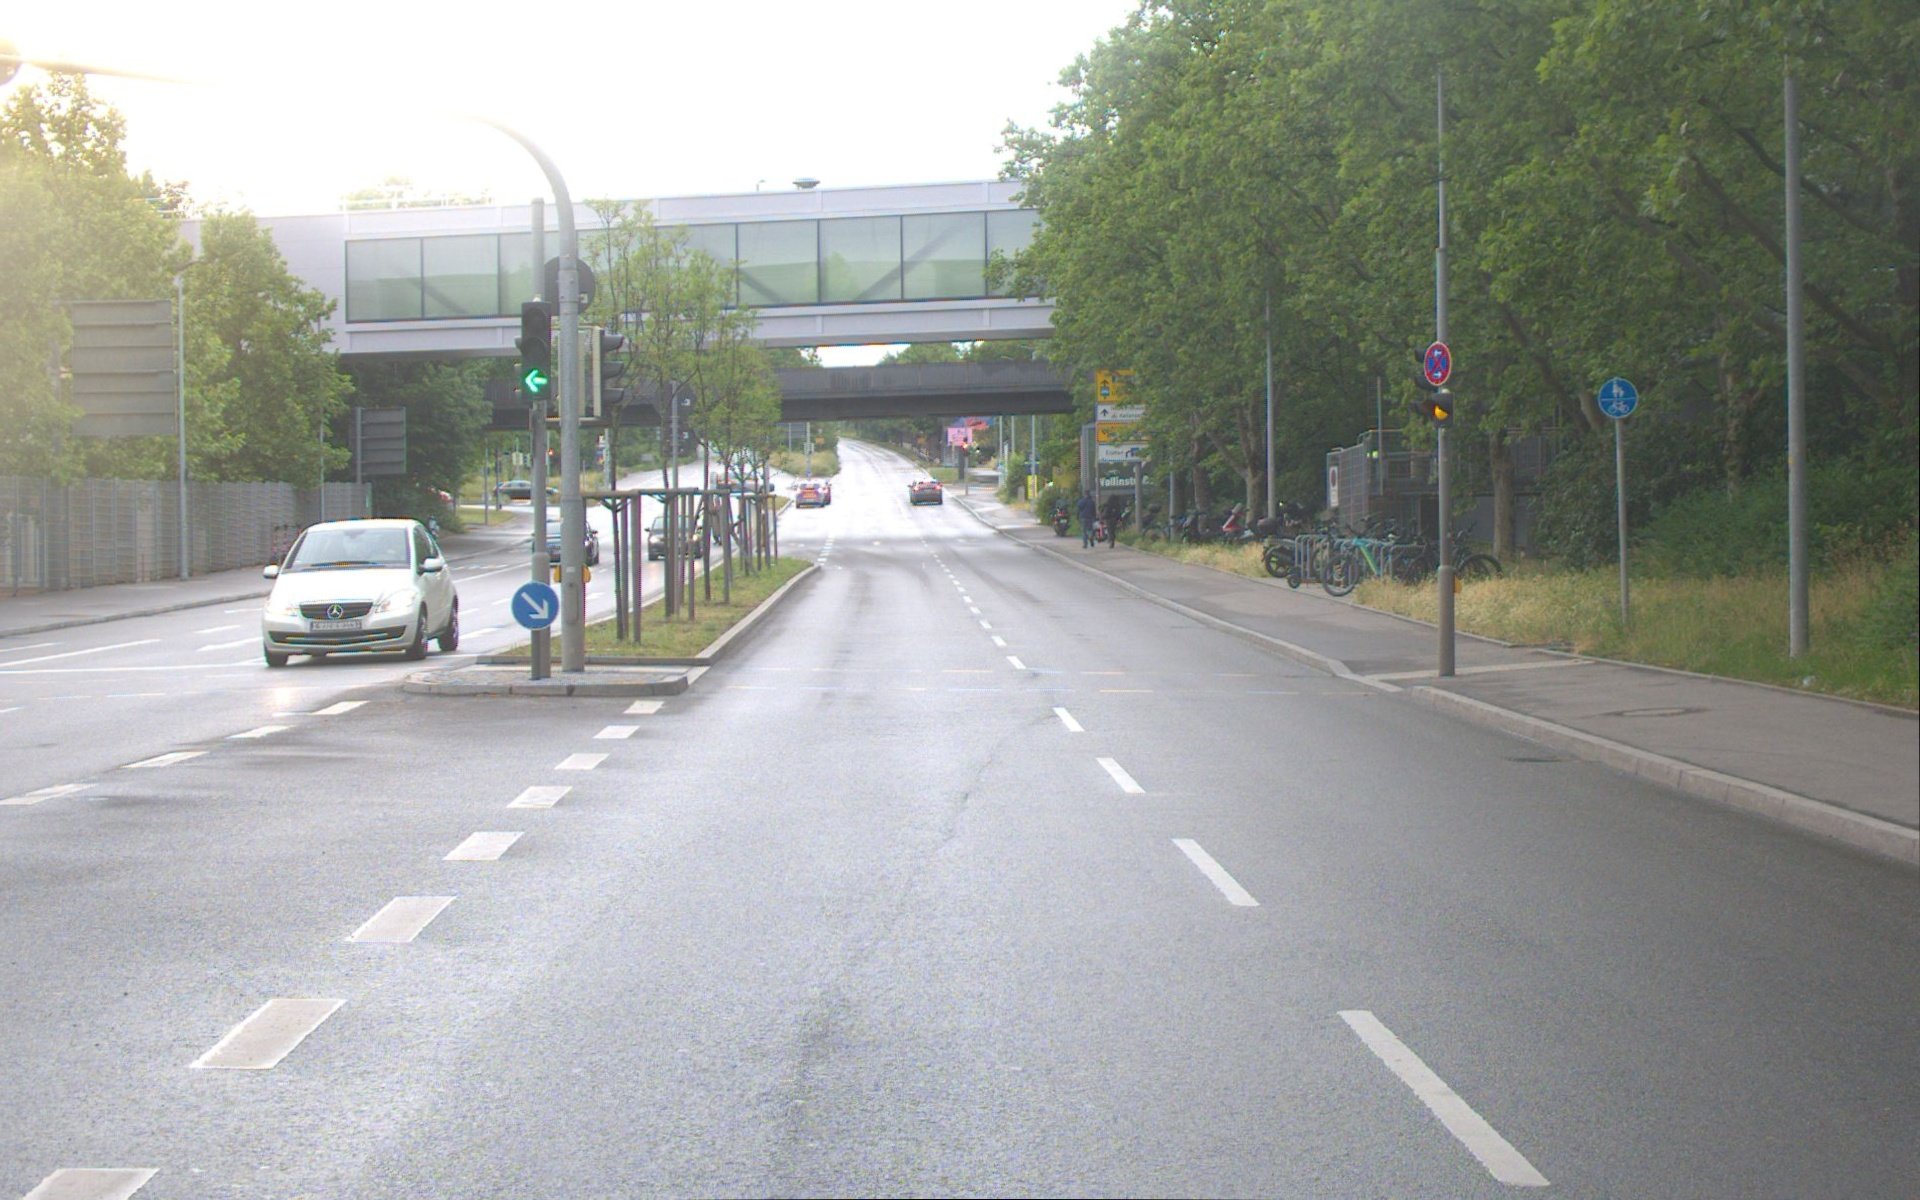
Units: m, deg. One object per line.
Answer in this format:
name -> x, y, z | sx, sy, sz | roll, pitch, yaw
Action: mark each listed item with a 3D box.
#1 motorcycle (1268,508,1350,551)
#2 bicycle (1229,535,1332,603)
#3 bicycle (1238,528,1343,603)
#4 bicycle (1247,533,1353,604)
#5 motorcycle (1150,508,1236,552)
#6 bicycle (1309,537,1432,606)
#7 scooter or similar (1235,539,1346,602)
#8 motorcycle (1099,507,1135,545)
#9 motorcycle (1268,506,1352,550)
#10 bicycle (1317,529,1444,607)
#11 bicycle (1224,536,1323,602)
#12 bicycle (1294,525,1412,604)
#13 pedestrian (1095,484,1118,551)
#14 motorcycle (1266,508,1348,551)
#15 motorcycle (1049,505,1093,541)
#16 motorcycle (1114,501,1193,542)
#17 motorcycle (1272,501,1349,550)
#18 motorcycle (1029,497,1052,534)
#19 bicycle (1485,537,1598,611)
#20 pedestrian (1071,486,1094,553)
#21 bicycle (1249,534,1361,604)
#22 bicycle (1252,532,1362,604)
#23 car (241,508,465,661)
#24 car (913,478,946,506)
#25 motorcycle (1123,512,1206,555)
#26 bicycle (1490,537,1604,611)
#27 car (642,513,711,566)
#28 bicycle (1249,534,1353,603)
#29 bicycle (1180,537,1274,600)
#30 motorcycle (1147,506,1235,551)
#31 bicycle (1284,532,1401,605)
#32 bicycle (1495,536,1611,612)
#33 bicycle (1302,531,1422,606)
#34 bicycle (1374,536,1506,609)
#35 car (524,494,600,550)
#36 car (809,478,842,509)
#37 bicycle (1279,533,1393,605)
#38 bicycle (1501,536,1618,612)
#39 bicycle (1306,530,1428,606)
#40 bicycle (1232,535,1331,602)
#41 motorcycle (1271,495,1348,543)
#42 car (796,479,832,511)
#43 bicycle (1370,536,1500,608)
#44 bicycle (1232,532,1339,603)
motorcycle -> 10.339, -2.080, 101.837 | 2.369, 1.198, 0.722 | -1, 1, 7
bicycle -> 6.505, -0.631, 69.772 | 1.990, 1.324, 0.576 | 2, 0, 0
bicycle -> 6.550, -0.687, 68.206 | 1.990, 1.425, 0.723 | 2, 0, 0
bicycle -> 6.667, -0.618, 67.473 | 1.990, 1.324, 0.576 | 2, 0, 0
motorcycle -> 6.620, -1.984, 97.575 | 2.369, 1.198, 0.722 | -1, 1, 7
bicycle -> 6.937, -0.480, 58.141 | 1.990, 1.091, 0.541 | 2, 0, 0
scooter or similar -> 6.202, -0.554, 64.578 | 1.990, 1.134, 0.541 | 2, 0, 0
motorcycle -> 5.515, -2.617, 121.074 | 0.790, 1.307, 2.377 | -2, 1, -9
motorcycle -> 10.144, -2.082, 99.593 | 2.369, 1.198, 0.722 | -1, 1, 7
bicycle -> 6.907, -0.528, 56.533 | 1.990, 1.212, 0.541 | 2, 0, 0
bicycle -> 6.538, -0.649, 71.700 | 1.963, 1.324, 0.654 | 2, 0, 0
bicycle -> 6.941, -0.621, 60.800 | 1.990, 1.336, 0.541 | 2, 0, 0
pedestrian -> 4.417, -2.481, 103.921 | 0.622, 2.007, 0.605 | -1, 1, 0
motorcycle -> 10.181, -2.068, 100.813 | 2.369, 1.198, 0.722 | -1, 1, 7
motorcycle -> 4.058, -2.820, 126.119 | 0.790, 1.307, 2.377 | -2, 1, -18
motorcycle -> 5.980, -2.421, 106.311 | 2.369, 1.198, 0.722 | -1, 1, 7
motorcycle -> 10.975, -2.344, 107.675 | 2.369, 1.471, 0.722 | -1, 1, 7
motorcycle -> 3.415, -3.572, 145.278 | 0.790, 1.528, 2.377 | -1, 1, -2
bicycle -> 10.915, -0.482, 64.556 | 1.990, 1.324, 0.576 | 2, 0, 0
pedestrian -> 3.717, -2.455, 104.349 | 0.622, 2.007, 0.605 | -1, 1, 0
bicycle -> 6.409, -0.582, 63.815 | 1.990, 1.237, 0.541 | 2, 0, 0
bicycle -> 6.628, -0.613, 65.721 | 1.990, 1.324, 0.576 | 2, 0, 0
car -> -6.868, -0.209, 39.250 | 1.877, 1.619, 3.779 | -1, 1, 0
car -> -1.796, -6.407, 203.581 | 1.875, 1.492, 4.068 | 2, 0, 0
motorcycle -> 6.080, -1.976, 102.180 | 2.369, 1.198, 0.722 | -1, 1, 7
bicycle -> 10.912, -0.480, 63.932 | 1.990, 1.324, 0.576 | 2, 0, 0
car -> -8.980, -1.934, 109.241 | 1.877, 1.619, 3.779 | -1, 1, 0
bicycle -> 6.841, -0.631, 69.061 | 1.990, 1.324, 0.576 | 2, 0, 0
bicycle -> 5.824, -0.682, 75.024 | 1.963, 1.324, 0.654 | 2, 0, 0
motorcycle -> 6.410, -1.989, 95.487 | 2.369, 1.198, 0.722 | -1, 1, 7
bicycle -> 6.837, -0.561, 61.492 | 1.990, 1.237, 0.541 | 2, 0, 0
bicycle -> 10.905, -0.478, 63.254 | 1.990, 1.324, 0.576 | 2, 0, 0
bicycle -> 6.957, -0.550, 59.533 | 1.990, 1.237, 0.541 | 2, 0, 0
bicycle -> 7.610, -0.440, 54.506 | 1.990, 1.091, 0.541 | 2, 0, 0
car -> -12.078, -2.373, 104.434 | 1.877, 1.619, 3.779 | -1, 1, 0
car -> -8.359, -6.601, 213.785 | 1.884, 1.756, 3.969 | 2, 0, 0
bicycle -> 6.822, -0.565, 62.441 | 1.990, 1.237, 0.541 | 2, 0, 0
bicycle -> 10.912, -0.476, 62.589 | 1.990, 1.324, 0.576 | 2, 0, 0
bicycle -> 6.949, -0.549, 58.722 | 1.990, 1.229, 0.541 | 2, 0, 0
bicycle -> 6.632, -0.644, 71.010 | 1.960, 1.324, 0.576 | 2, 0, 0
motorcycle -> 11.064, -2.558, 108.906 | 2.369, 1.471, 0.722 | -1, 1, 7
car -> -8.801, -6.294, 207.228 | 1.993, 1.756, 4.000 | 2, 0, 0
bicycle -> 7.605, -0.442, 55.074 | 1.990, 1.091, 0.541 | 2, 0, 0
bicycle -> 6.296, -0.626, 66.530 | 1.990, 1.324, 0.576 | 2, 0, 0
